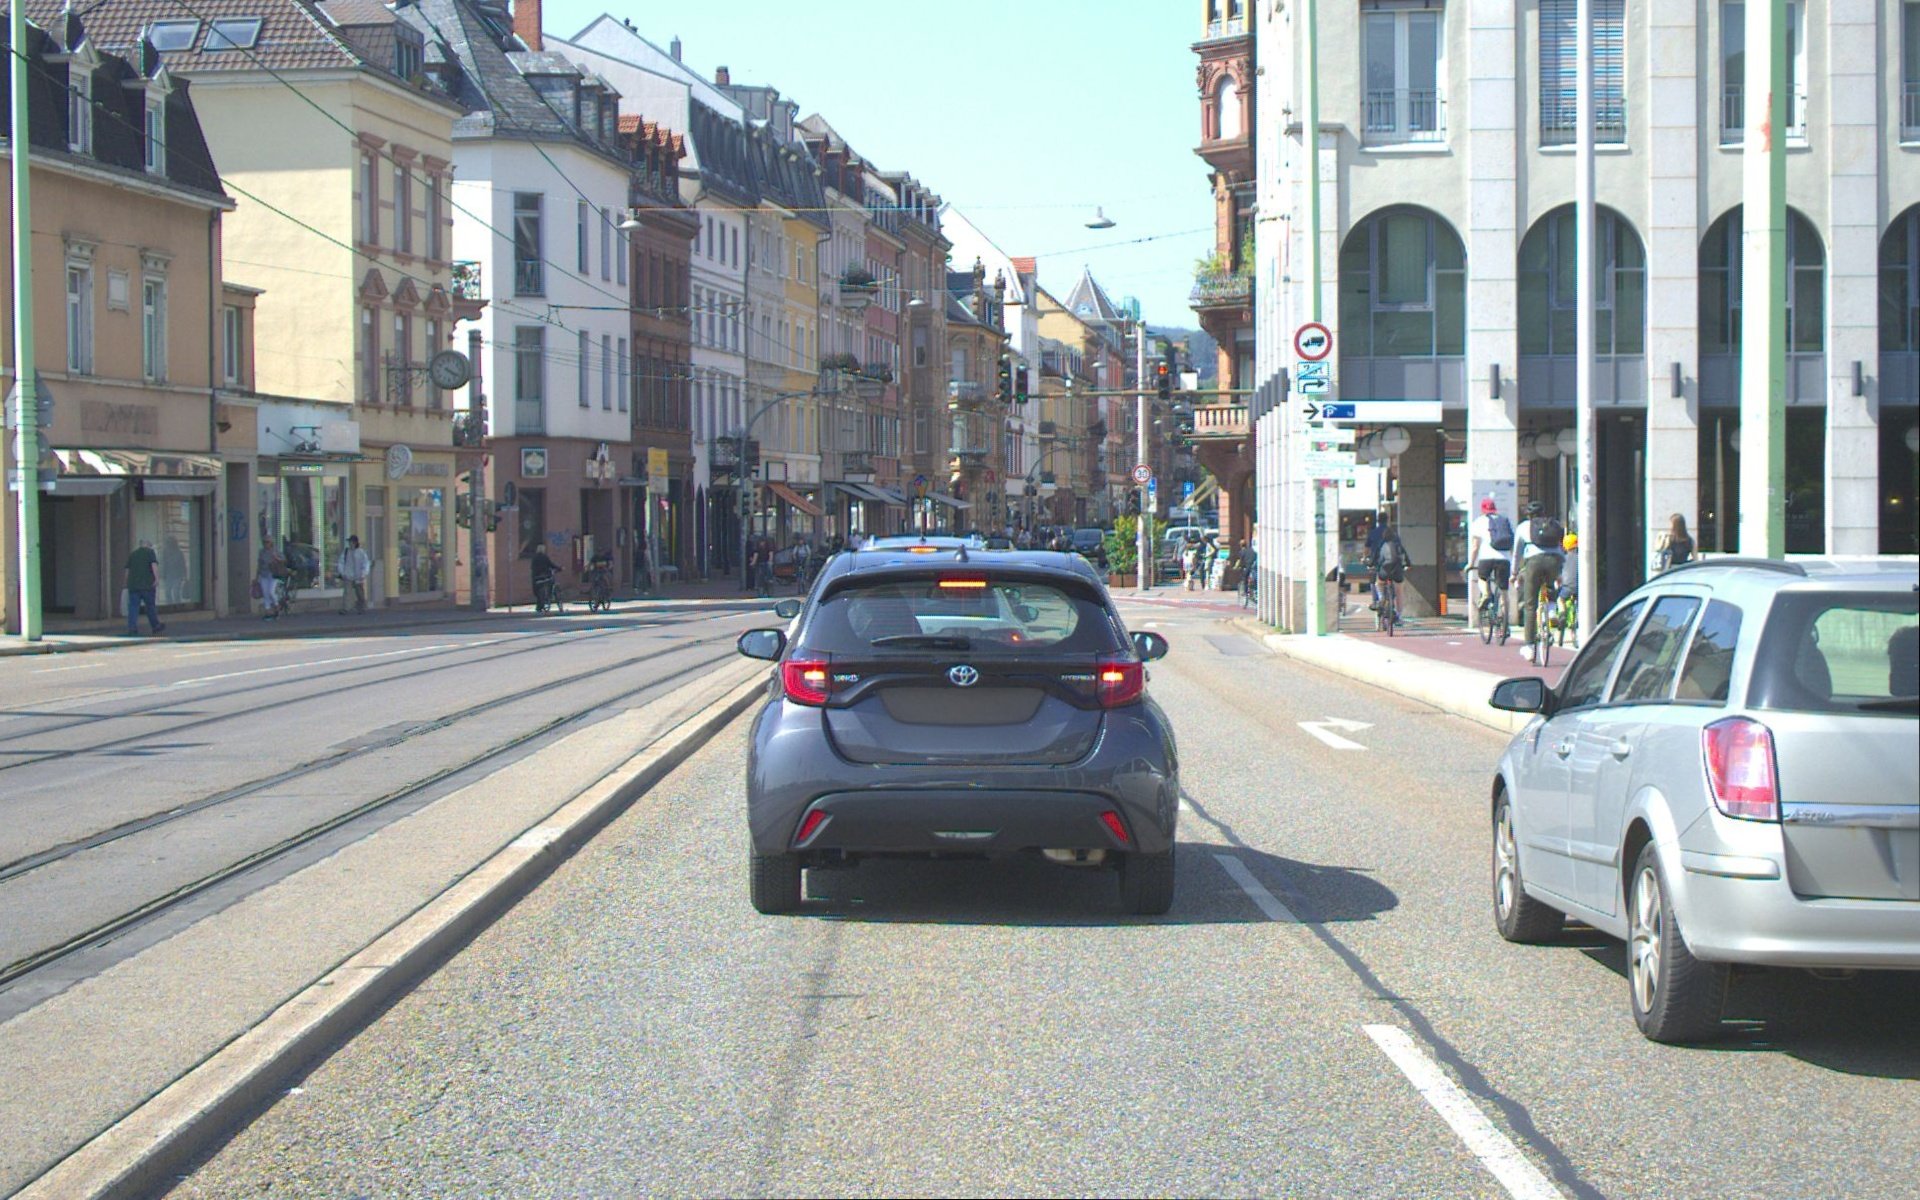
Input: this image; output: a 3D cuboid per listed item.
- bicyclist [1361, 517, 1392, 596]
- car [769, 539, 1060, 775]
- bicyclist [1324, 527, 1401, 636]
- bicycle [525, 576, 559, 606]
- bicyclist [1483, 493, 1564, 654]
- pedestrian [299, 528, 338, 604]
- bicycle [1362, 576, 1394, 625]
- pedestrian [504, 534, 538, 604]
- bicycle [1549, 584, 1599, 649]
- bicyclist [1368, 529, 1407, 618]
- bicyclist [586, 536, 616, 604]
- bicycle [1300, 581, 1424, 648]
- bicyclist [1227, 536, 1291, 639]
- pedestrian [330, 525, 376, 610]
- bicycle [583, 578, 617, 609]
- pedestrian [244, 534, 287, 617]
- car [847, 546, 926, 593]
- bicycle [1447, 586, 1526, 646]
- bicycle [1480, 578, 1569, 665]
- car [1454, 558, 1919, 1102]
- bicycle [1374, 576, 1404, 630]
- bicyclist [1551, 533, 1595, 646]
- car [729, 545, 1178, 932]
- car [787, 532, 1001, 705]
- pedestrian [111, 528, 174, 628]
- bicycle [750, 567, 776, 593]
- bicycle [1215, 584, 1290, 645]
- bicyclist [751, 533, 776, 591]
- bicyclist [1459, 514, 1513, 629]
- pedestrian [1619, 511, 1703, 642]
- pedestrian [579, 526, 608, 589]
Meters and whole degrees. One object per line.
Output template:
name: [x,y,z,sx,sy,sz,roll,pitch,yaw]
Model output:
bicyclist: [6.725,-0.707,55.496,0.422,1.252,0.443,-2,1,3]
car: [-0.318,0.345,24.767,1.897,1.525,4.000,1,1,-1]
bicyclist: [9.695,-0.450,82.804,1.228,2.520,1.105,3,1,-38]
bicycle: [-10.536,-0.227,86.634,0.620,0.713,1.771,1,2,0]
bicyclist: [6.030,-0.284,36.830,0.701,1.689,0.924,-1,1,0]
pedestrian: [-13.981,-0.744,74.977,0.649,1.596,0.566,4,3,0]
bicycle: [6.752,0.003,55.546,0.416,0.763,0.962,-2,1,3]
pedestrian: [-11.105,-0.792,87.009,0.736,1.760,0.787,0,2,0]
bicycle: [7.546,0.199,42.256,0.416,0.763,0.962,-2,1,0]
bicyclist: [6.416,-0.400,51.572,0.538,1.312,0.671,-2,1,8]
bicyclist: [-8.875,-0.749,85.077,0.627,1.644,0.622,2,2,1]
bicycle: [9.681,0.347,82.845,1.112,1.415,3.007,3,1,-38]
bicyclist: [7.577,-0.329,87.202,1.227,2.520,1.105,3,1,-10]
pedestrian: [-12.972,-0.691,73.498,0.736,1.760,0.787,4,1,0]
bicycle: [-8.901,-0.164,85.064,0.620,0.713,1.771,2,2,0]
pedestrian: [-13.874,-0.494,68.711,0.649,1.596,0.566,4,3,0]
car: [-2.321,-0.976,109.441,1.732,1.455,4.372,0,1,10]
bicycle: [6.808,0.207,44.494,0.416,0.763,0.961,-2,1,-39]
bicycle: [6.042,0.224,36.865,0.704,0.879,1.525,-1,1,1]
car: [2.866,0.616,11.605,1.705,1.461,4.326,1,1,-1]
bicycle: [6.435,0.043,51.554,0.416,0.763,1.205,-2,1,7]
bicyclist: [7.534,-0.132,42.261,0.422,1.378,0.443,-2,1,0]
car: [-0.043,0.510,15.212,1.720,1.468,3.658,1,1,-1]
car: [-0.609,0.131,32.920,1.897,1.525,4.000,1,1,-1]
pedestrian: [-14.089,-0.380,59.280,0.762,1.648,0.711,4,1,4]
bicycle: [-5.659,-0.578,98.855,0.620,0.713,1.731,2,2,0]
bicycle: [7.415,0.348,87.410,1.112,1.415,3.008,3,1,-9]
bicyclist: [-5.646,-1.104,98.794,0.627,1.644,0.622,2,2,1]
bicyclist: [6.805,-0.372,44.477,0.484,1.461,0.443,-3,1,-39]
pedestrian: [8.940,-0.306,43.903,0.739,1.609,1.016,4,1,-1]
pedestrian: [-10.388,-1.216,97.375,0.736,1.760,0.787,0,2,0]
